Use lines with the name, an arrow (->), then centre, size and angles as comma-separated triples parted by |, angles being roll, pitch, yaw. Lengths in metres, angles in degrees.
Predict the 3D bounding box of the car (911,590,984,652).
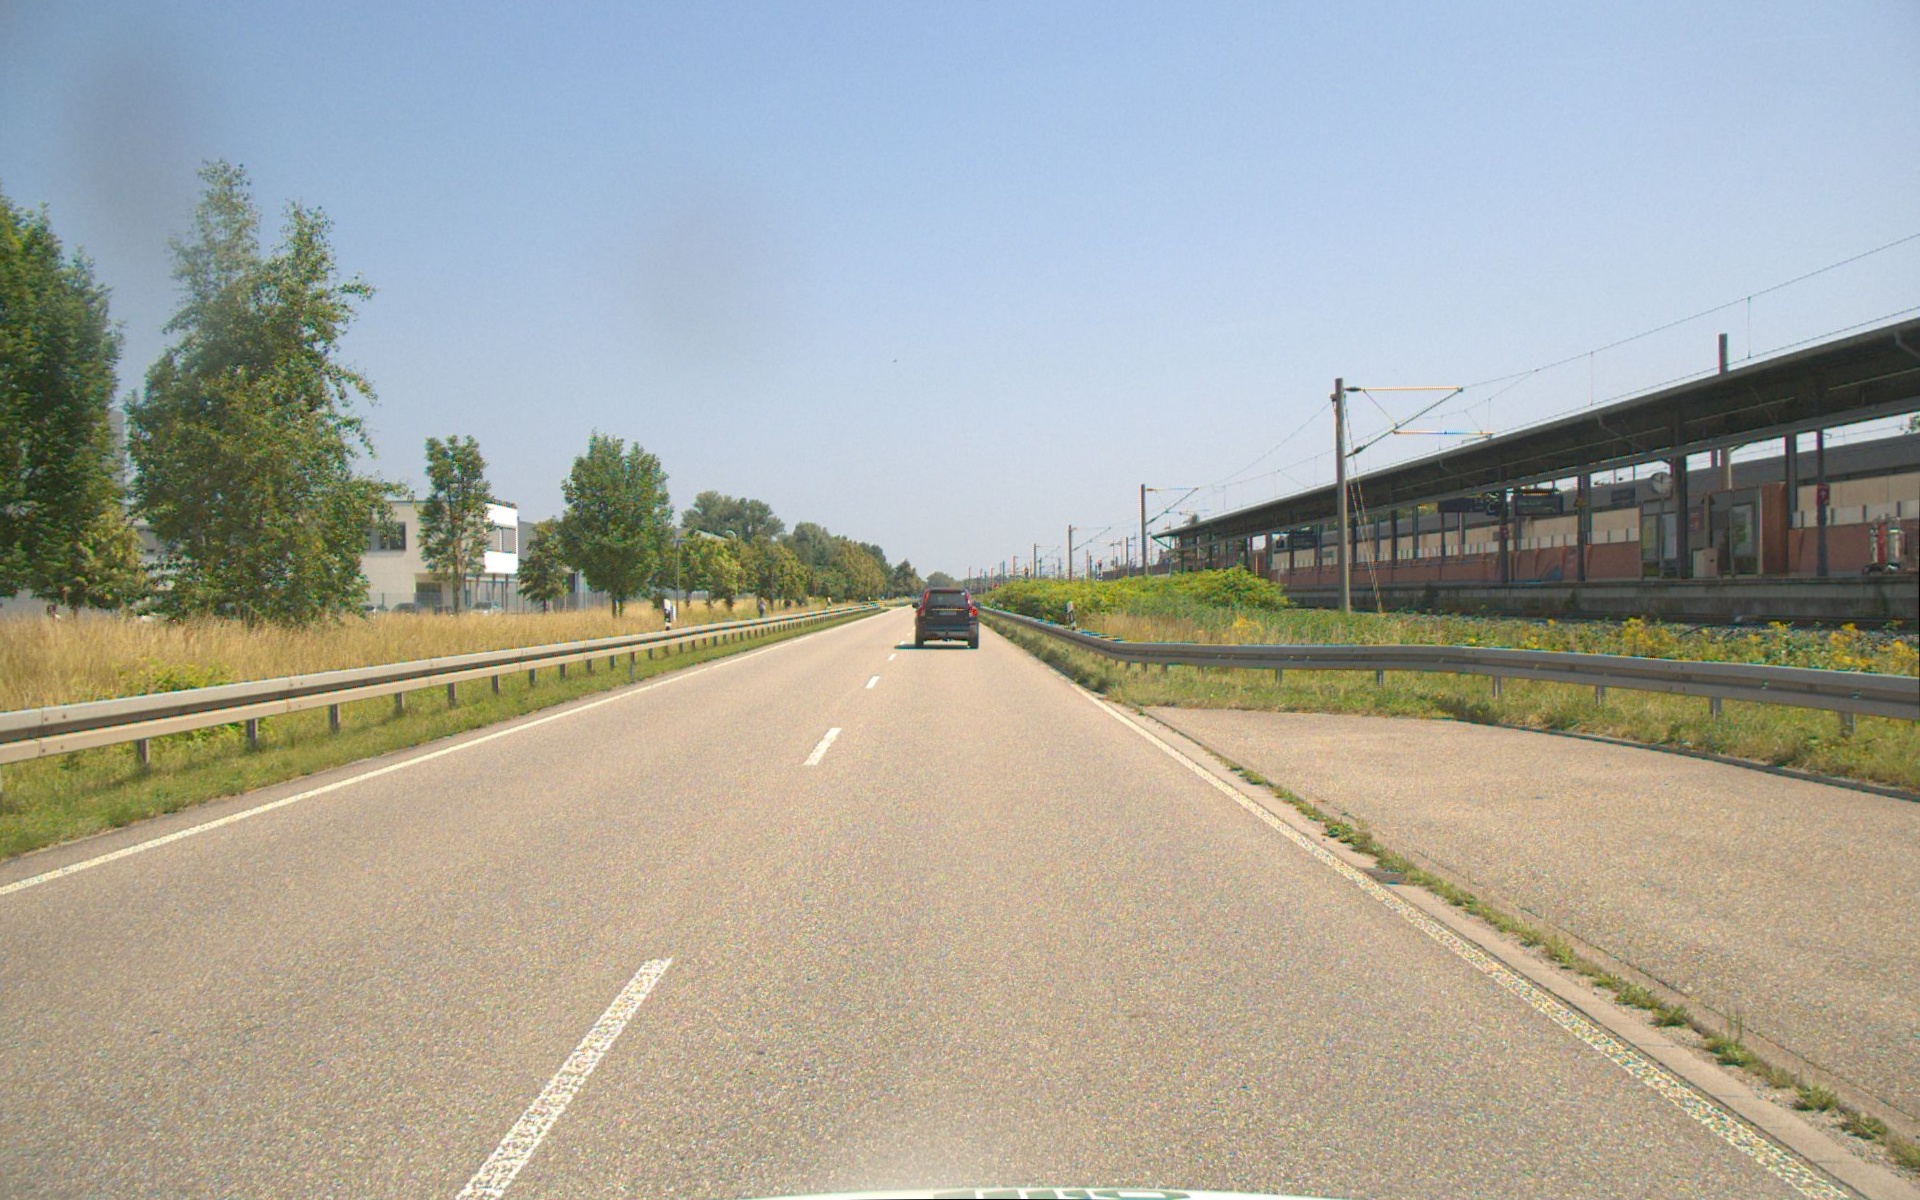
car -> -0.409, 0.578, 48.474 | 1.954, 1.730, 3.998 | 0, 0, -3
